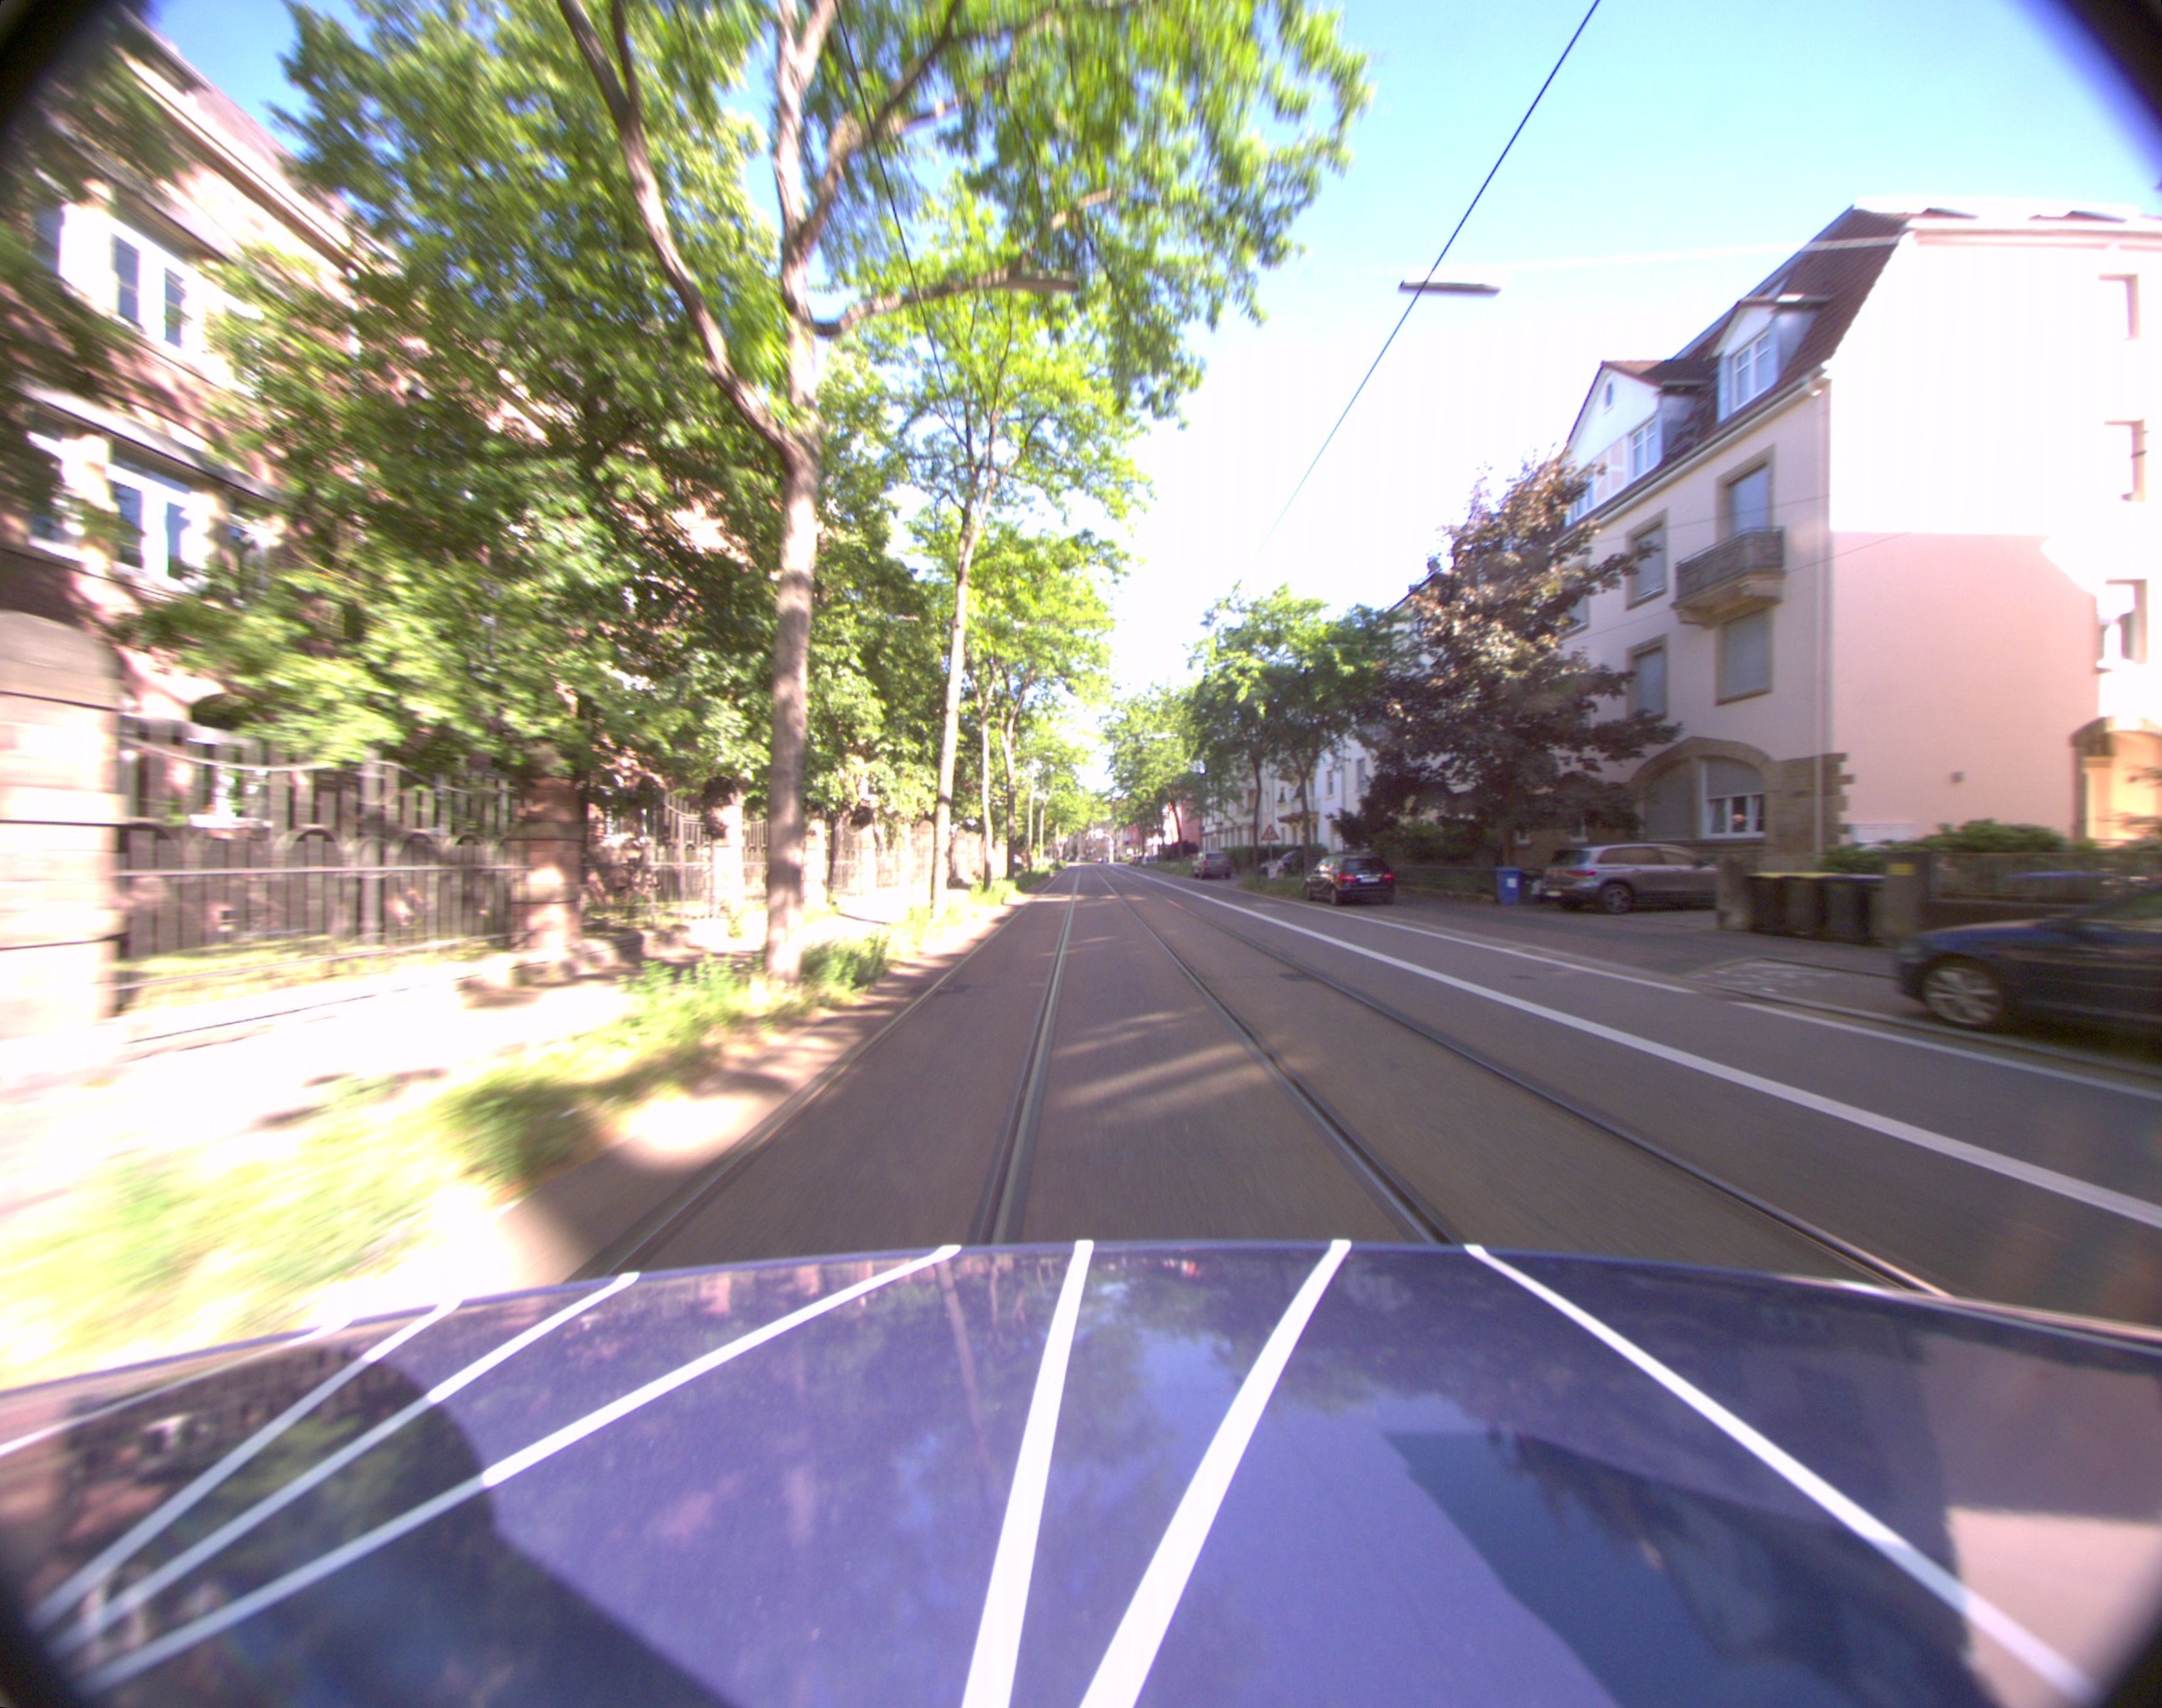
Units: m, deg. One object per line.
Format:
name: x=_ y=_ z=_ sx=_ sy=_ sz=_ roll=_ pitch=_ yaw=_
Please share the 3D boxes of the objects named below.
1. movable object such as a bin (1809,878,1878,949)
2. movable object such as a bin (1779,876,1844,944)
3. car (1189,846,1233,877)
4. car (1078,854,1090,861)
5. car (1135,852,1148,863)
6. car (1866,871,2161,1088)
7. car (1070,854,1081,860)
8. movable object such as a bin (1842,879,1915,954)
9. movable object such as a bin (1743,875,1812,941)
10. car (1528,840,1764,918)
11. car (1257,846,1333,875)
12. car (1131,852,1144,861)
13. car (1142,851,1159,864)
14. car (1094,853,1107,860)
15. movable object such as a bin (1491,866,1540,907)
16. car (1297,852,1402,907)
movable object such as a bin: x=11.732 y=0.905 z=11.698 sx=0.548 sy=1.060 sz=0.510 roll=-1 pitch=1 yaw=0
movable object such as a bin: x=11.736 y=0.892 z=12.220 sx=0.548 sy=1.060 sz=0.510 roll=-1 pitch=1 yaw=0
car: x=8.481 y=0.463 z=49.950 sx=1.875 sy=1.812 sz=4.770 roll=-3 pitch=0 yaw=-2
car: x=0.613 y=0.762 z=171.429 sx=1.880 sy=1.390 sz=3.996 roll=-4 pitch=0 yaw=-11
car: x=8.791 y=0.469 z=110.022 sx=1.558 sy=1.446 sz=3.667 roll=-2 pitch=0 yaw=0
car: x=8.354 y=0.900 z=5.067 sx=1.710 sy=1.398 sz=4.333 roll=-2 pitch=0 yaw=-1
car: x=-1.321 y=0.653 z=178.975 sx=1.880 sy=1.390 sz=3.996 roll=-4 pitch=0 yaw=-11
movable object such as a bin: x=11.727 y=0.905 z=11.180 sx=0.538 sy=1.060 sz=0.510 roll=-1 pitch=1 yaw=0
movable object such as a bin: x=11.736 y=0.903 z=12.818 sx=0.542 sy=1.060 sz=0.670 roll=-1 pitch=1 yaw=0
car: x=13.381 y=0.561 z=18.199 sx=4.177 sy=1.649 sz=1.983 roll=-2 pitch=1 yaw=-1
car: x=13.679 y=0.395 z=48.767 sx=4.311 sy=1.651 sz=1.953 roll=-2 pitch=0 yaw=2
car: x=8.822 y=0.382 z=118.997 sx=1.577 sy=1.446 sz=4.095 roll=-2 pitch=0 yaw=-3
car: x=8.950 y=0.440 z=98.101 sx=1.629 sy=1.526 sz=3.689 roll=-2 pitch=0 yaw=-1
car: x=4.027 y=0.615 z=159.950 sx=1.880 sy=1.390 sz=3.996 roll=-4 pitch=0 yaw=-11
movable object such as a bin: x=11.882 y=0.878 z=20.795 sx=0.877 sy=1.060 sz=0.814 roll=-1 pitch=1 yaw=0
car: x=8.514 y=0.750 z=24.495 sx=1.781 sy=1.532 sz=4.485 roll=-2 pitch=0 yaw=0
